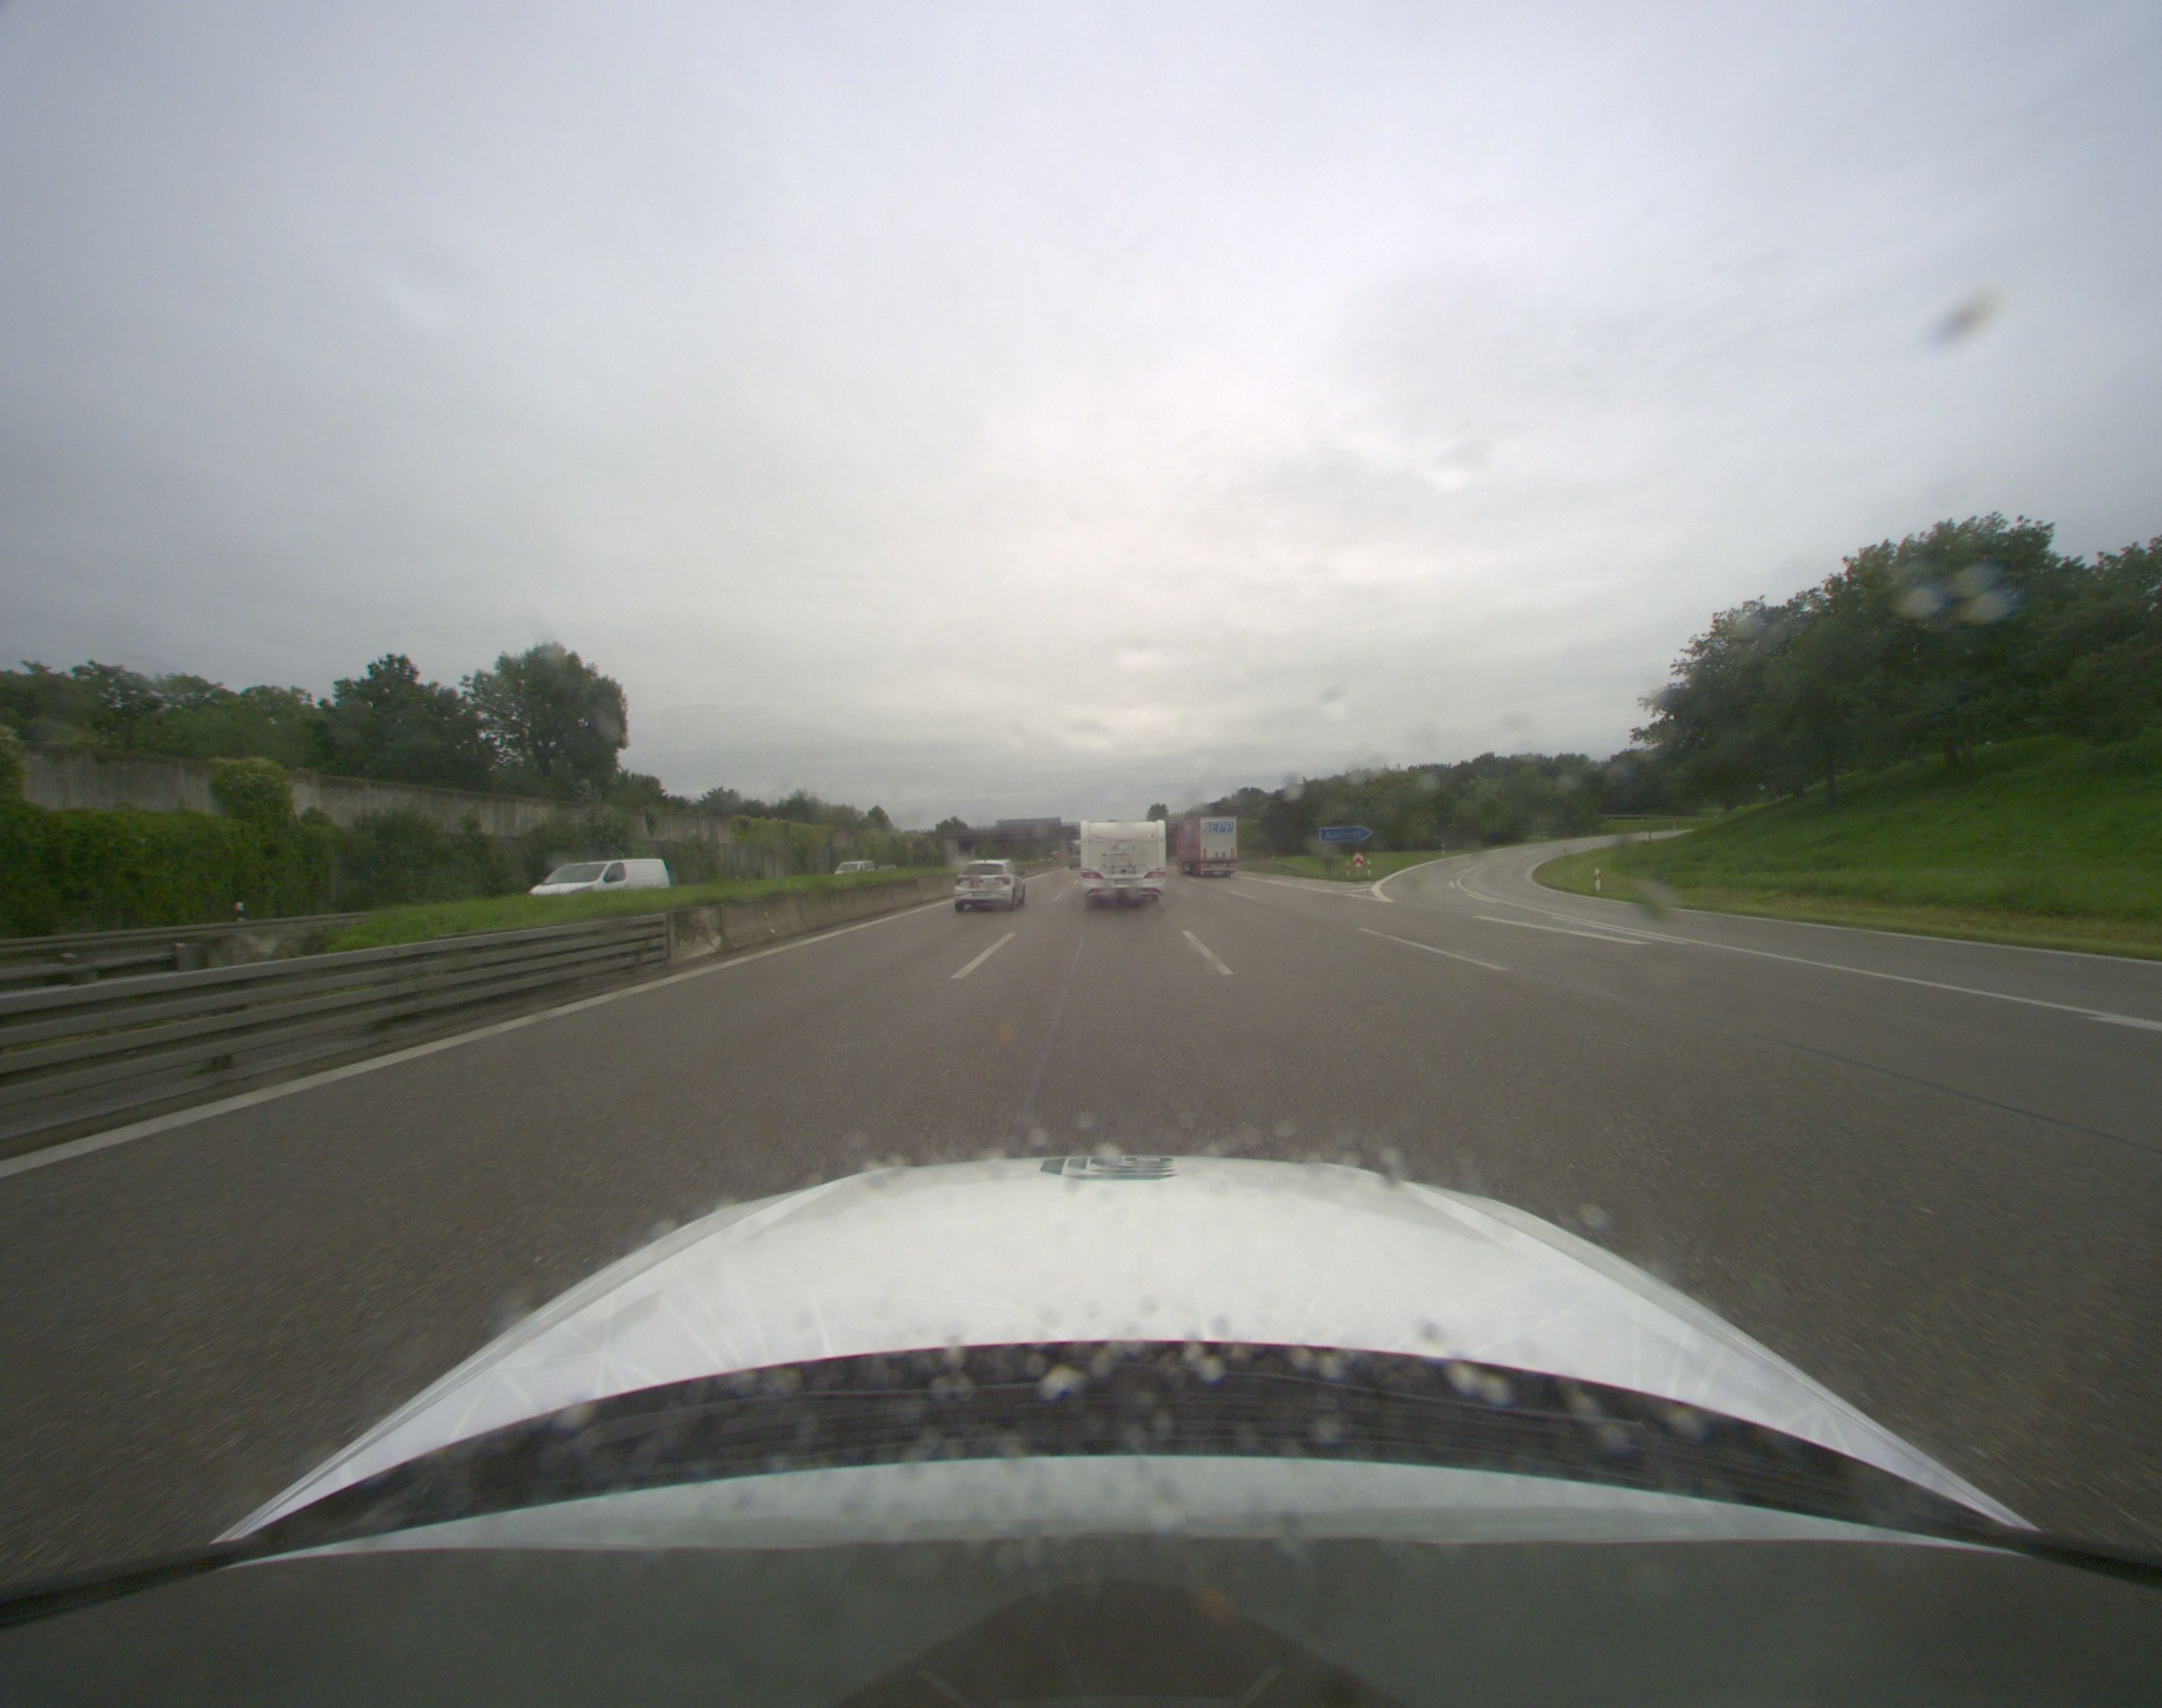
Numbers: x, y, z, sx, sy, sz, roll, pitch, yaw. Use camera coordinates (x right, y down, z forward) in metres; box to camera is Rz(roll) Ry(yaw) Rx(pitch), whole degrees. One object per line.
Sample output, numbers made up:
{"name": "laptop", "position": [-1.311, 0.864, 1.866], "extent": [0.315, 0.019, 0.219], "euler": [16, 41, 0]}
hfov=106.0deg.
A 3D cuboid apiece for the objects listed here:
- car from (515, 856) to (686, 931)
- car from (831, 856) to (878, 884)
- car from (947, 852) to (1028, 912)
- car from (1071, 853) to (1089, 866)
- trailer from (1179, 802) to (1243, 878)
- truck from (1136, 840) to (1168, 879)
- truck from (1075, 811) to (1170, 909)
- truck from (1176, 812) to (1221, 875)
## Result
{"name": "car", "position": [-14.600, 1.110, 25.202], "extent": [2.073, 2.013, 5.196], "euler": [-1, 0, 1]}
{"name": "car", "position": [-17.106, 1.153, 61.702], "extent": [1.986, 2.014, 5.228], "euler": [-1, -1, 1]}
{"name": "car", "position": [-2.725, 0.774, 24.710], "extent": [1.746, 1.618, 4.665], "euler": [-1, 0, 2]}
{"name": "car", "position": [-0.110, 0.719, 102.405], "extent": [1.985, 1.600, 5.127], "euler": [-1, 0, 3]}
{"name": "trailer", "position": [9.152, -0.871, 58.620], "extent": [3.088, 4.922, 11.795], "euler": [-1, -1, 2]}
{"name": "truck", "position": [5.193, 0.413, 60.446], "extent": [2.046, 2.770, 5.550], "euler": [-1, -1, 2]}
{"name": "truck", "position": [1.249, 0.198, 25.542], "extent": [2.651, 2.742, 5.079], "euler": [-1, -1, 1]}
{"name": "truck", "position": [9.434, -0.771, 66.056], "extent": [3.036, 4.839, 5.853], "euler": [-1, -1, 2]}
